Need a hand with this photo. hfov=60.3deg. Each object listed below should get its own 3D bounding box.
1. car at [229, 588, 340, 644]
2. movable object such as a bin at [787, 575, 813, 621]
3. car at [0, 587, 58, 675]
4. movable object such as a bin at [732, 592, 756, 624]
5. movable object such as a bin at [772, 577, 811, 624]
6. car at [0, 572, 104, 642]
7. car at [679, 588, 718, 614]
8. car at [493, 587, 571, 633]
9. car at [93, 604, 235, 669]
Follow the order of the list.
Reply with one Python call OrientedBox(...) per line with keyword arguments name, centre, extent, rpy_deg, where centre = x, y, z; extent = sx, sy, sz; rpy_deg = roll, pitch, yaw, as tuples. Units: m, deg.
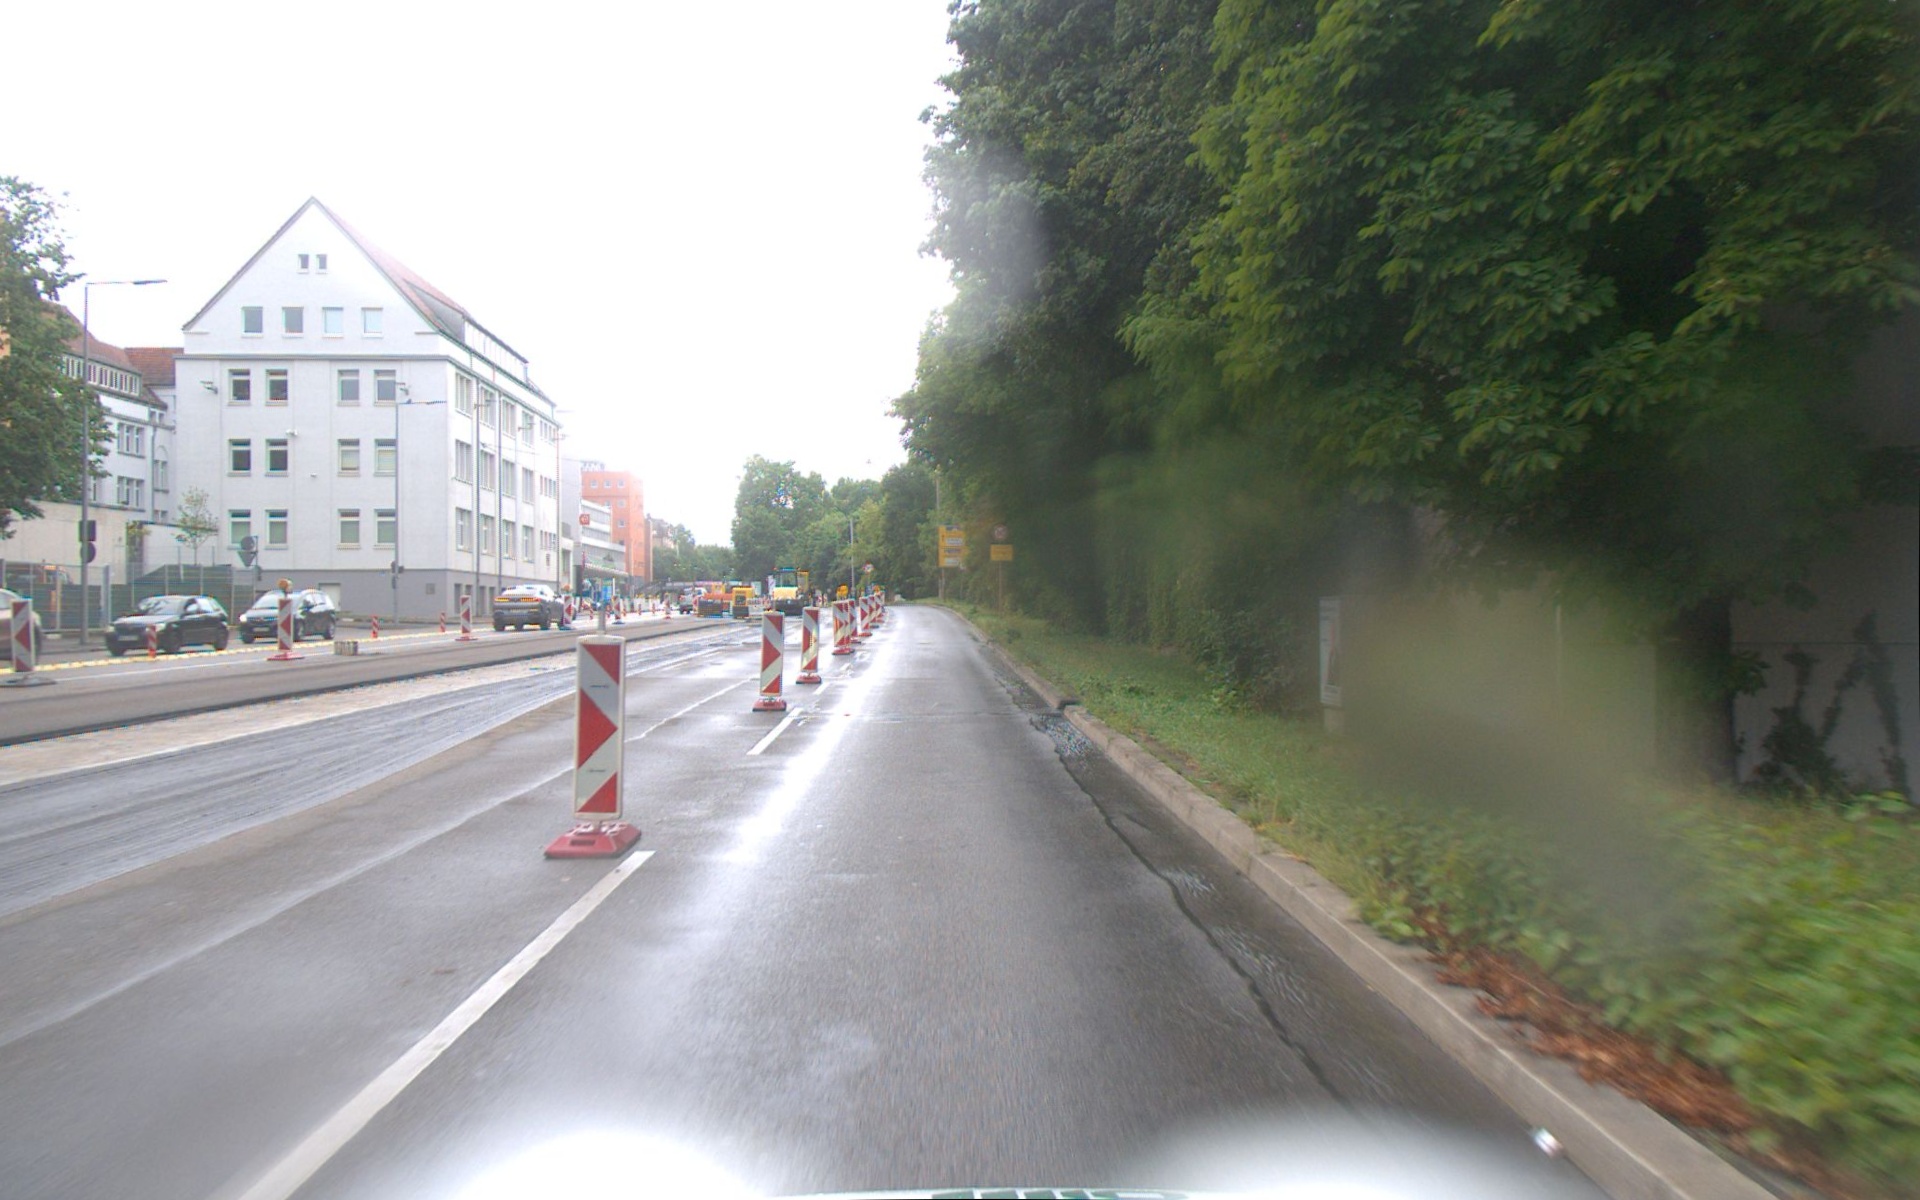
OrientedBox(name="car", centre=(-21.897, 0.490, 53.778), extent=(1.821, 1.658, 4.328), rpy_deg=(-3, 0, -1))
OrientedBox(name="movable object such as a bin", centre=(-10.964, -0.157, 113.414), extent=(1.436, 3.061, 3.722), rpy_deg=(-3, 0, -3))
OrientedBox(name="car", centre=(-18.796, 0.622, 30.591), extent=(1.821, 1.647, 4.364), rpy_deg=(-3, 0, -1))
OrientedBox(name="movable object such as a bin", centre=(-11.752, 0.431, 89.910), extent=(1.061, 1.673, 2.438), rpy_deg=(-1, 0, -2))
OrientedBox(name="movable object such as a bin", centre=(-9.987, 0.015, 98.452), extent=(1.864, 2.654, 5.381), rpy_deg=(-1, 0, -2))
OrientedBox(name="car", centre=(-29.803, 0.218, 54.172), extent=(1.577, 2.208, 3.998), rpy_deg=(-1, 0, -2))
OrientedBox(name="car", centre=(-16.945, 0.057, 107.393), extent=(1.854, 1.679, 4.395), rpy_deg=(0, 0, -1))
OrientedBox(name="car", centre=(-16.090, 0.355, 62.395), extent=(1.854, 1.679, 4.395), rpy_deg=(0, 0, -1))
OrientedBox(name="car", centre=(-20.324, 0.889, 42.372), extent=(1.821, 1.501, 3.731), rpy_deg=(-3, 0, -1))
